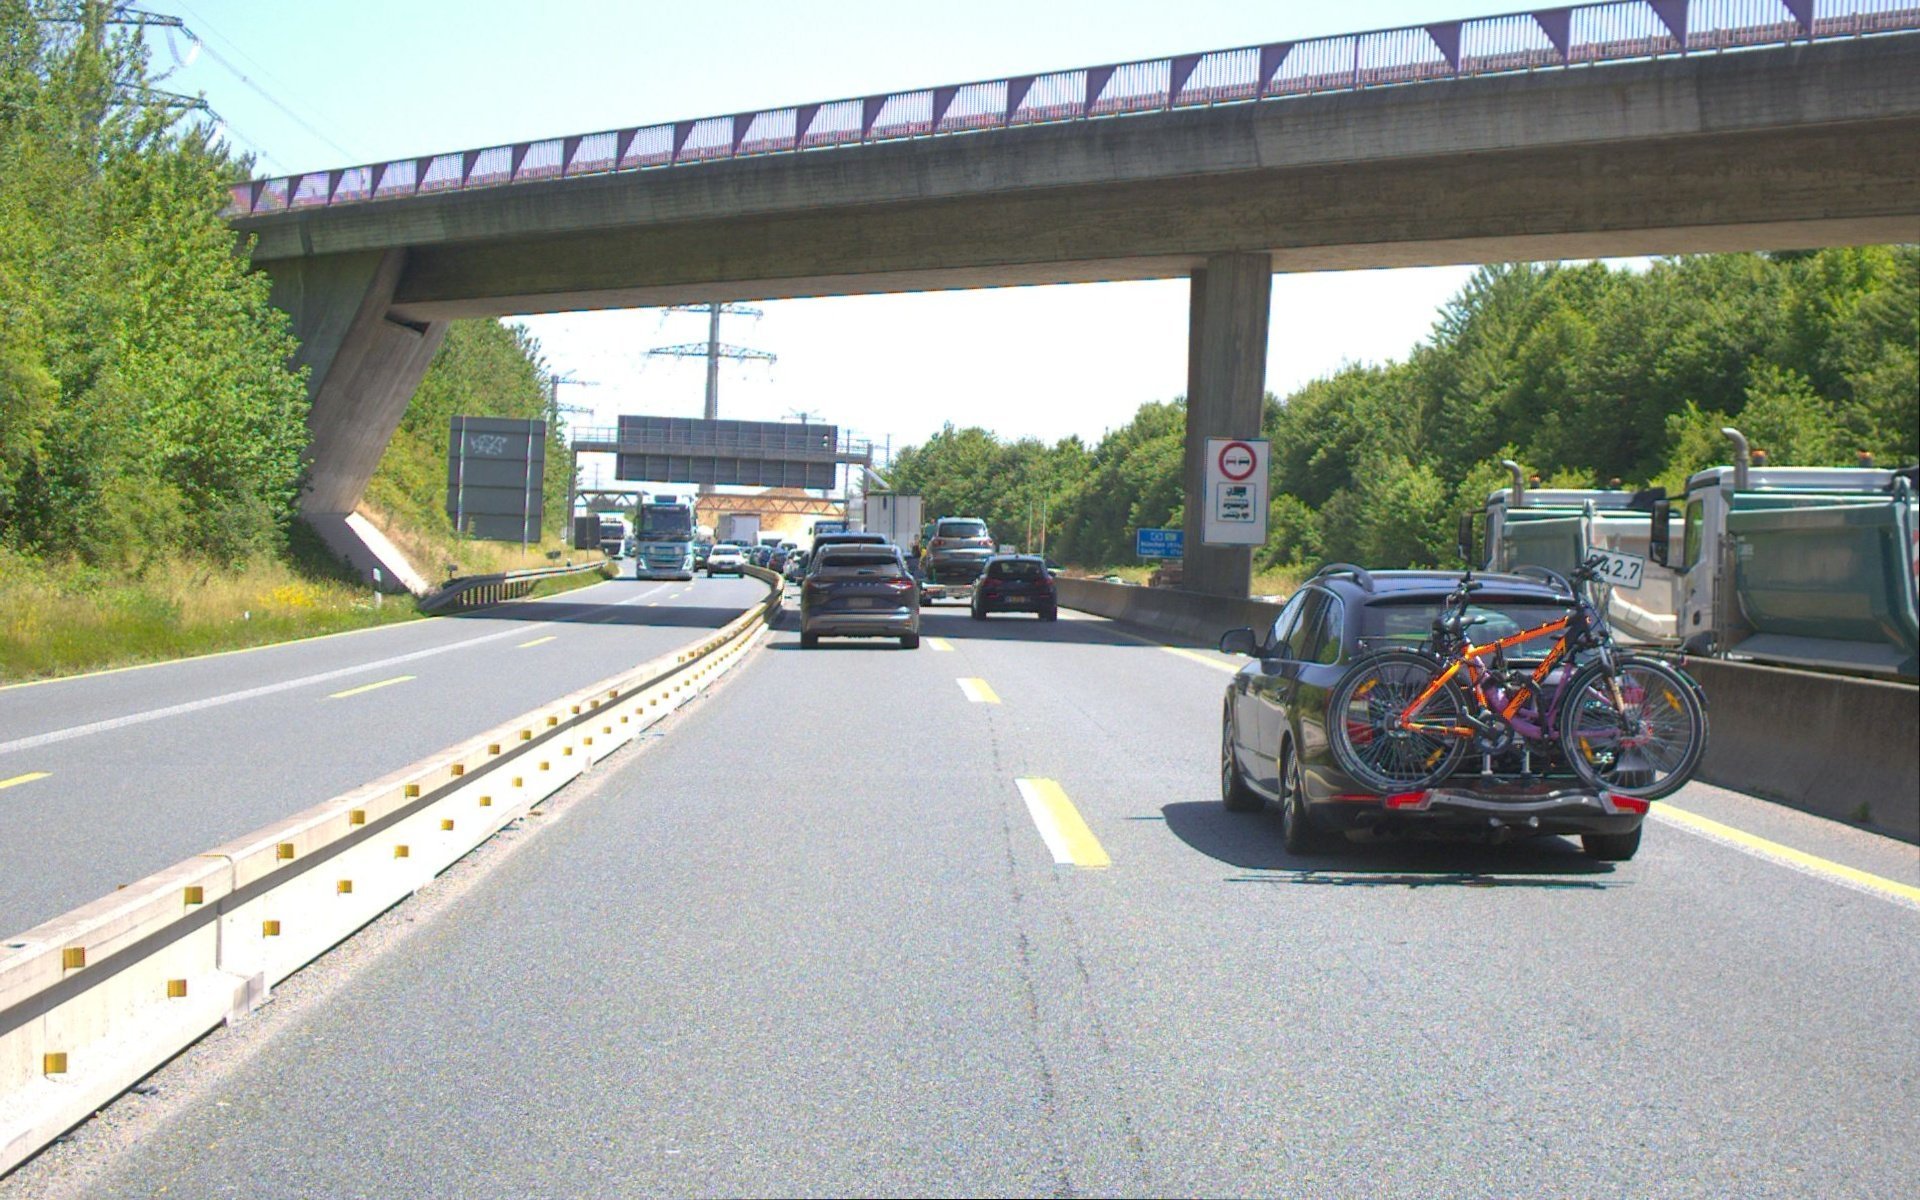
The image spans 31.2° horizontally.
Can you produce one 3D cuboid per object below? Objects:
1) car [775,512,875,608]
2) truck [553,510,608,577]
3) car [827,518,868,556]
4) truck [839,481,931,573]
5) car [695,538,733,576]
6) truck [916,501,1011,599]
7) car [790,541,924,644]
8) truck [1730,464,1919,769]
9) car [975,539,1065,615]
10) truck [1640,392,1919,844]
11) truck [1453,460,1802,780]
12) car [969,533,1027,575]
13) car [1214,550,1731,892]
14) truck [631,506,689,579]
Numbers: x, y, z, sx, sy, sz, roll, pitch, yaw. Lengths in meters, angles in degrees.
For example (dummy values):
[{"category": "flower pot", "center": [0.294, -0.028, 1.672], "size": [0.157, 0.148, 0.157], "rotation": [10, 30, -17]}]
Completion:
[{"category": "car", "center": [-2.866, -0.864, 73.862], "size": [1.899, 1.962, 4.276], "rotation": [1, 1, 1]}, {"category": "truck", "center": [-18.937, -2.831, 172.022], "size": [2.508, 3.175, 10.112], "rotation": [1, 1, -5]}, {"category": "car", "center": [-6.160, -3.435, 187.953], "size": [1.899, 1.962, 4.277], "rotation": [1, 1, -6]}, {"category": "truck", "center": [-3.399, -3.207, 151.963], "size": [3.292, 3.832, 10.112], "rotation": [1, 1, -5]}, {"category": "car", "center": [-12.174, -2.128, 169.885], "size": [1.762, 1.831, 4.001], "rotation": [1, 0, -5]}, {"category": "truck", "center": [0.050, -1.432, 94.966], "size": [2.405, 2.549, 7.501], "rotation": [1, 1, -1]}, {"category": "car", "center": [-1.563, -0.133, 53.724], "size": [1.899, 1.500, 4.276], "rotation": [1, 1, 1]}, {"category": "truck", "center": [12.395, 0.144, 44.093], "size": [2.687, 3.545, 9.326], "rotation": [1, 1, -1]}, {"category": "car", "center": [1.303, -0.519, 76.070], "size": [1.899, 1.580, 4.276], "rotation": [1, 1, 0]}, {"category": "truck", "center": [9.096, 0.102, 33.951], "size": [2.687, 3.843, 9.326], "rotation": [1, 1, -1]}, {"category": "truck", "center": [8.768, 0.171, 46.385], "size": [2.687, 3.830, 9.326], "rotation": [1, 1, -1]}, {"category": "car", "center": [1.467, -1.804, 134.164], "size": [1.899, 1.580, 4.277], "rotation": [1, 1, -4]}, {"category": "car", "center": [2.465, 0.517, 17.800], "size": [1.899, 1.485, 4.947], "rotation": [1, 0, 0]}, {"category": "truck", "center": [-13.742, -2.635, 157.135], "size": [2.508, 3.175, 10.112], "rotation": [1, 1, -5]}]
